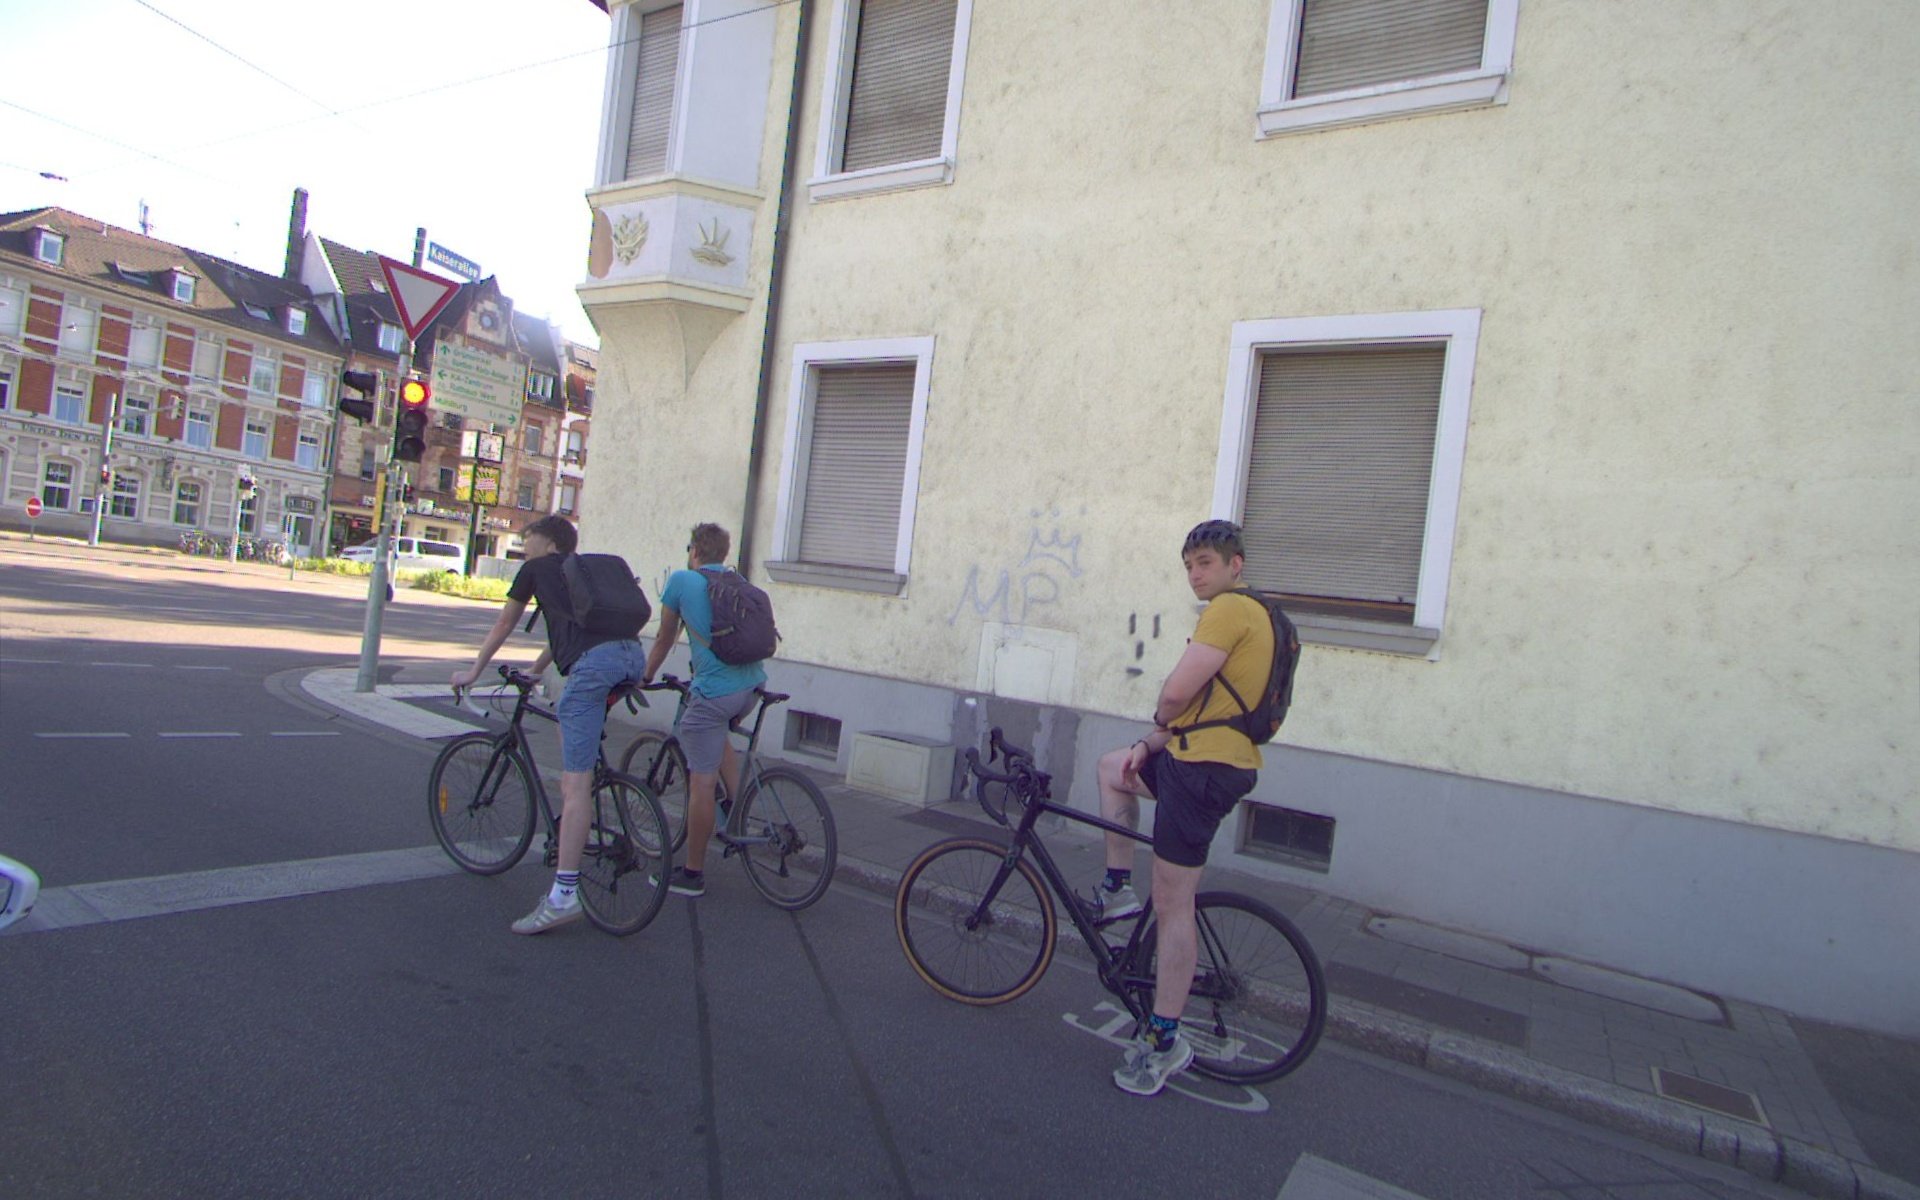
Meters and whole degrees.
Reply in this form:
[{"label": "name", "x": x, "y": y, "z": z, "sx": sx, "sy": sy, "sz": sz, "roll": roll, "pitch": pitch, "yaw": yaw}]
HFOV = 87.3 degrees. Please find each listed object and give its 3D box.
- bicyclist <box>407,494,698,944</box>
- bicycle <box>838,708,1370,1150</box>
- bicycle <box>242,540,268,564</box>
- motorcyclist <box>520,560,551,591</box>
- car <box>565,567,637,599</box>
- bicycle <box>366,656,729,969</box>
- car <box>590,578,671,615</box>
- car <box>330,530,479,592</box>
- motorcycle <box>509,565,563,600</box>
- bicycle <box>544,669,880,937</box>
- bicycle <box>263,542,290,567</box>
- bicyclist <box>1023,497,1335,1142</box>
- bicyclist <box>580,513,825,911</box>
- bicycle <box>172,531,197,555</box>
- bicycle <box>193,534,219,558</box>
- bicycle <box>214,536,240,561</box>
[{"label": "bicyclist", "x": -1.838, "y": 0.481, "z": 4.541, "sx": 0.920, "sy": 1.787, "sz": 0.590, "roll": 6, "pitch": -1, "yaw": 32}, {"label": "bicycle", "x": 0.542, "y": 1.115, "z": 3.834, "sx": 1.709, "sy": 1.119, "sz": 0.783, "roll": 7, "pitch": -1, "yaw": 18}, {"label": "bicycle", "x": -33.638, "y": -2.305, "z": 47.974, "sx": 0.762, "sy": 1.019, "sz": 2.196, "roll": 8, "pitch": -2, "yaw": -39}, {"label": "motorcyclist", "x": -20.385, "y": -1.154, "z": 48.300, "sx": 0.777, "sy": 1.315, "sz": 1.015, "roll": 6, "pitch": -2, "yaw": 38}, {"label": "car", "x": -23.185, "y": -1.090, "z": 65.114, "sx": 1.842, "sy": 1.454, "sz": 3.985, "roll": 6, "pitch": -2, "yaw": 35}, {"label": "bicycle", "x": -1.912, "y": 0.870, "z": 4.554, "sx": 1.753, "sy": 1.003, "sz": 0.482, "roll": 6, "pitch": -1, "yaw": 32}, {"label": "car", "x": -17.462, "y": -0.163, "z": 53.414, "sx": 1.569, "sy": 1.443, "sz": 3.876, "roll": 7, "pitch": -1, "yaw": 32}, {"label": "car", "x": -23.790, "y": -1.634, "z": 43.313, "sx": 1.966, "sy": 1.876, "sz": 5.210, "roll": 7, "pitch": -1, "yaw": 30}, {"label": "motorcycle", "x": -20.371, "y": -0.839, "z": 48.362, "sx": 0.785, "sy": 1.349, "sz": 2.136, "roll": 6, "pitch": -2, "yaw": 37}, {"label": "bicycle", "x": -1.327, "y": 0.974, "z": 5.221, "sx": 1.753, "sy": 0.995, "sz": 0.504, "roll": 6, "pitch": -1, "yaw": 32}, {"label": "bicycle", "x": -33.028, "y": -2.200, "z": 48.607, "sx": 0.789, "sy": 1.027, "sz": 2.186, "roll": 8, "pitch": -2, "yaw": -39}, {"label": "bicyclist", "x": 0.820, "y": 0.711, "z": 3.679, "sx": 0.763, "sy": 1.990, "sz": 0.783, "roll": 7, "pitch": 0, "yaw": 18}, {"label": "bicyclist", "x": -1.352, "y": 0.535, "z": 5.272, "sx": 0.960, "sy": 1.868, "sz": 0.504, "roll": 6, "pitch": -1, "yaw": 32}, {"label": "bicycle", "x": -35.377, "y": -2.607, "z": 45.871, "sx": 0.762, "sy": 0.974, "sz": 2.186, "roll": 8, "pitch": -2, "yaw": -39}, {"label": "bicycle", "x": -34.775, "y": -2.506, "z": 46.395, "sx": 0.762, "sy": 0.979, "sz": 2.186, "roll": 8, "pitch": -2, "yaw": -39}, {"label": "bicycle", "x": -34.279, "y": -2.416, "z": 47.018, "sx": 0.762, "sy": 0.995, "sz": 2.186, "roll": 8, "pitch": -2, "yaw": -39}]
